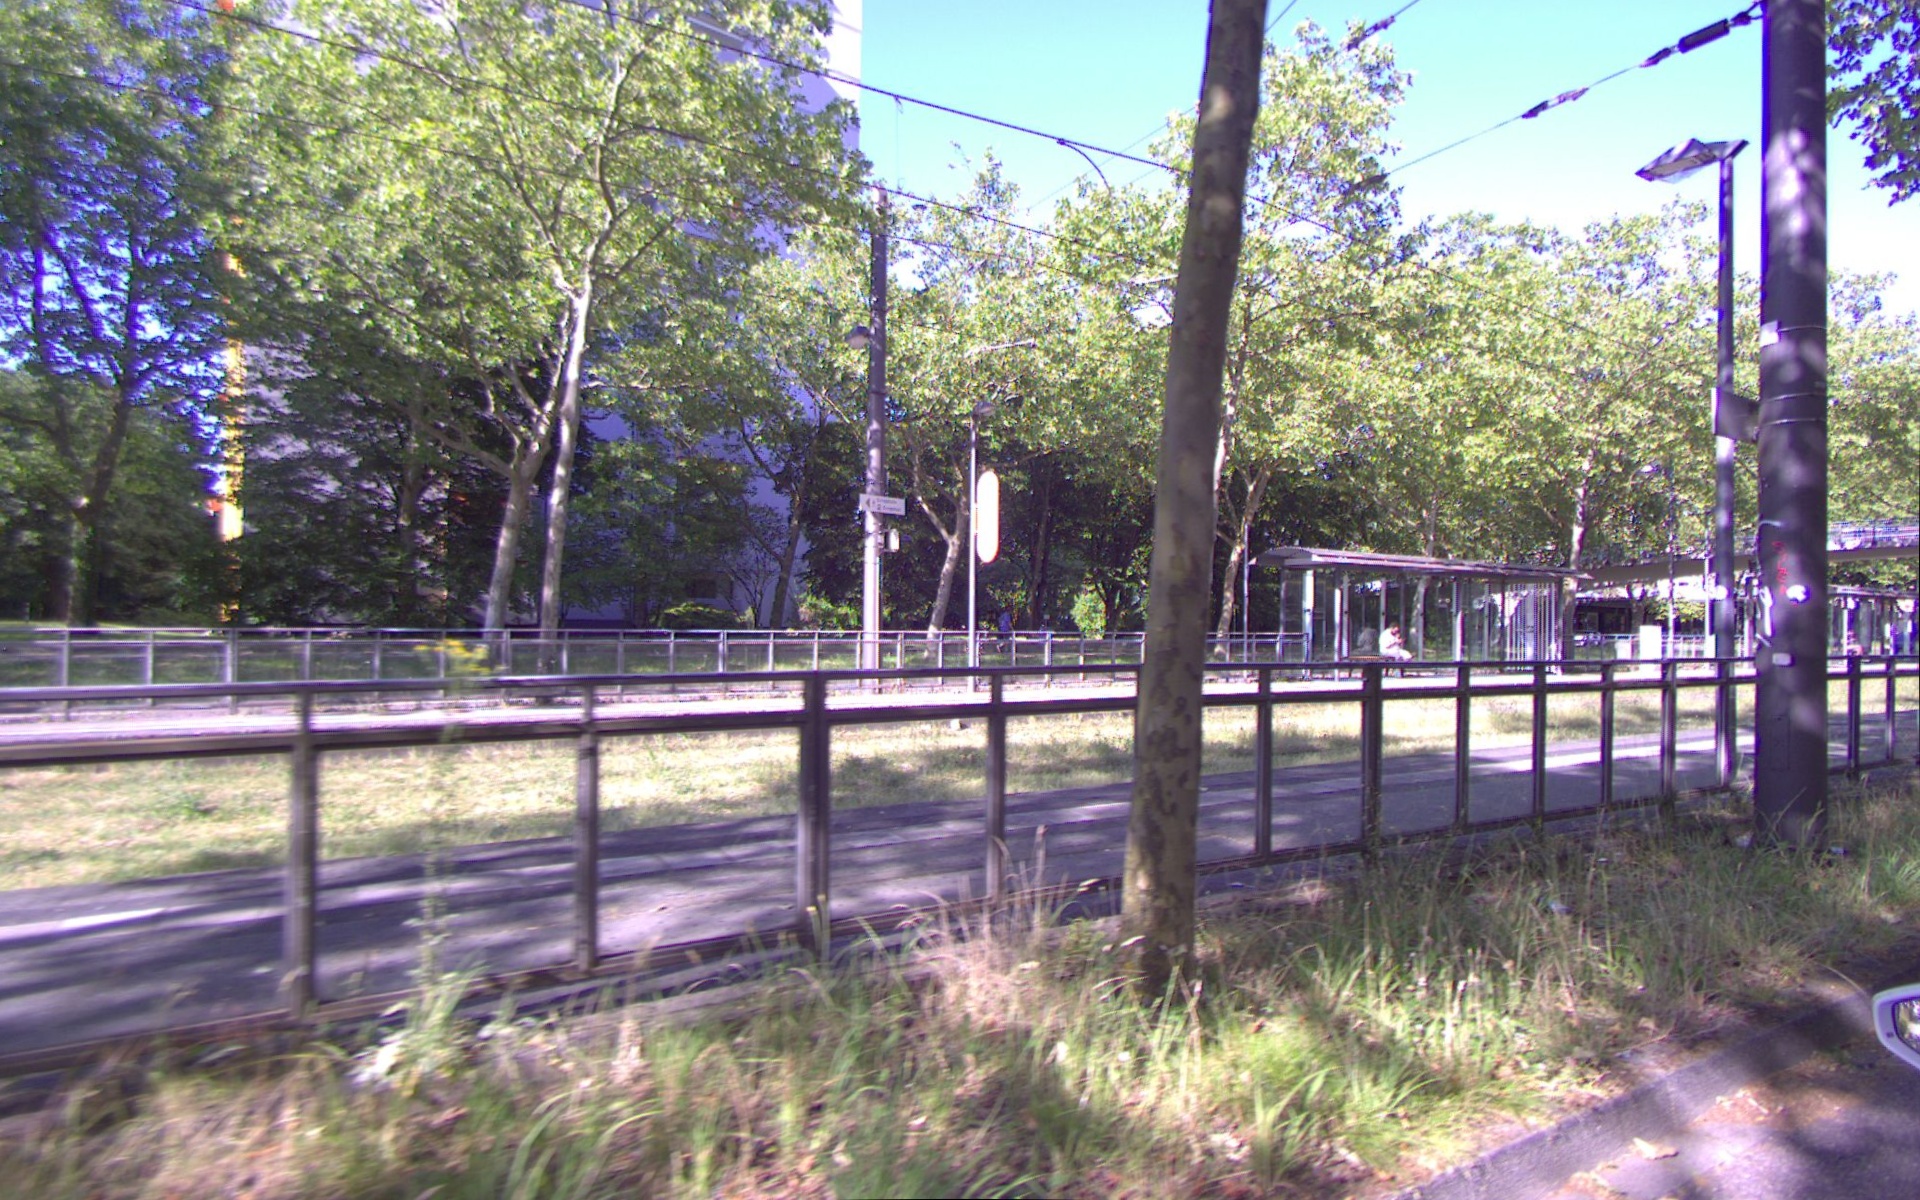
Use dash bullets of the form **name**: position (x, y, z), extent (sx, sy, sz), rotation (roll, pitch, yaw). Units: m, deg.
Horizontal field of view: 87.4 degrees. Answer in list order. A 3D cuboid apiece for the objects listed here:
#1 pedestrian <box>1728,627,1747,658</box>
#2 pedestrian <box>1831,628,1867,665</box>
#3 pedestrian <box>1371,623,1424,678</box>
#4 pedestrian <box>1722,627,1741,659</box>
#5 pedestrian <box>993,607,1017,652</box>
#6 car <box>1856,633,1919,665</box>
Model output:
- **pedestrian**: position (42.773, 2.336, 55.241), extent (0.643, 1.683, 0.644), rotation (1, -1, -35)
- **pedestrian**: position (31.122, 1.620, 35.183), extent (0.714, 1.254, 0.774), rotation (1, -1, -32)
- **pedestrian**: position (9.753, 1.118, 22.405), extent (0.754, 1.199, 0.762), rotation (1, 0, -30)
- **pedestrian**: position (42.056, 2.331, 54.763), extent (0.643, 1.683, 0.644), rotation (1, -1, -35)
- **pedestrian**: position (1.717, 1.124, 38.577), extent (0.642, 1.683, 0.645), rotation (1, 0, -29)
- **car**: position (49.546, 2.571, 53.485), extent (4.244, 1.587, 1.783), rotation (2, -1, -34)
